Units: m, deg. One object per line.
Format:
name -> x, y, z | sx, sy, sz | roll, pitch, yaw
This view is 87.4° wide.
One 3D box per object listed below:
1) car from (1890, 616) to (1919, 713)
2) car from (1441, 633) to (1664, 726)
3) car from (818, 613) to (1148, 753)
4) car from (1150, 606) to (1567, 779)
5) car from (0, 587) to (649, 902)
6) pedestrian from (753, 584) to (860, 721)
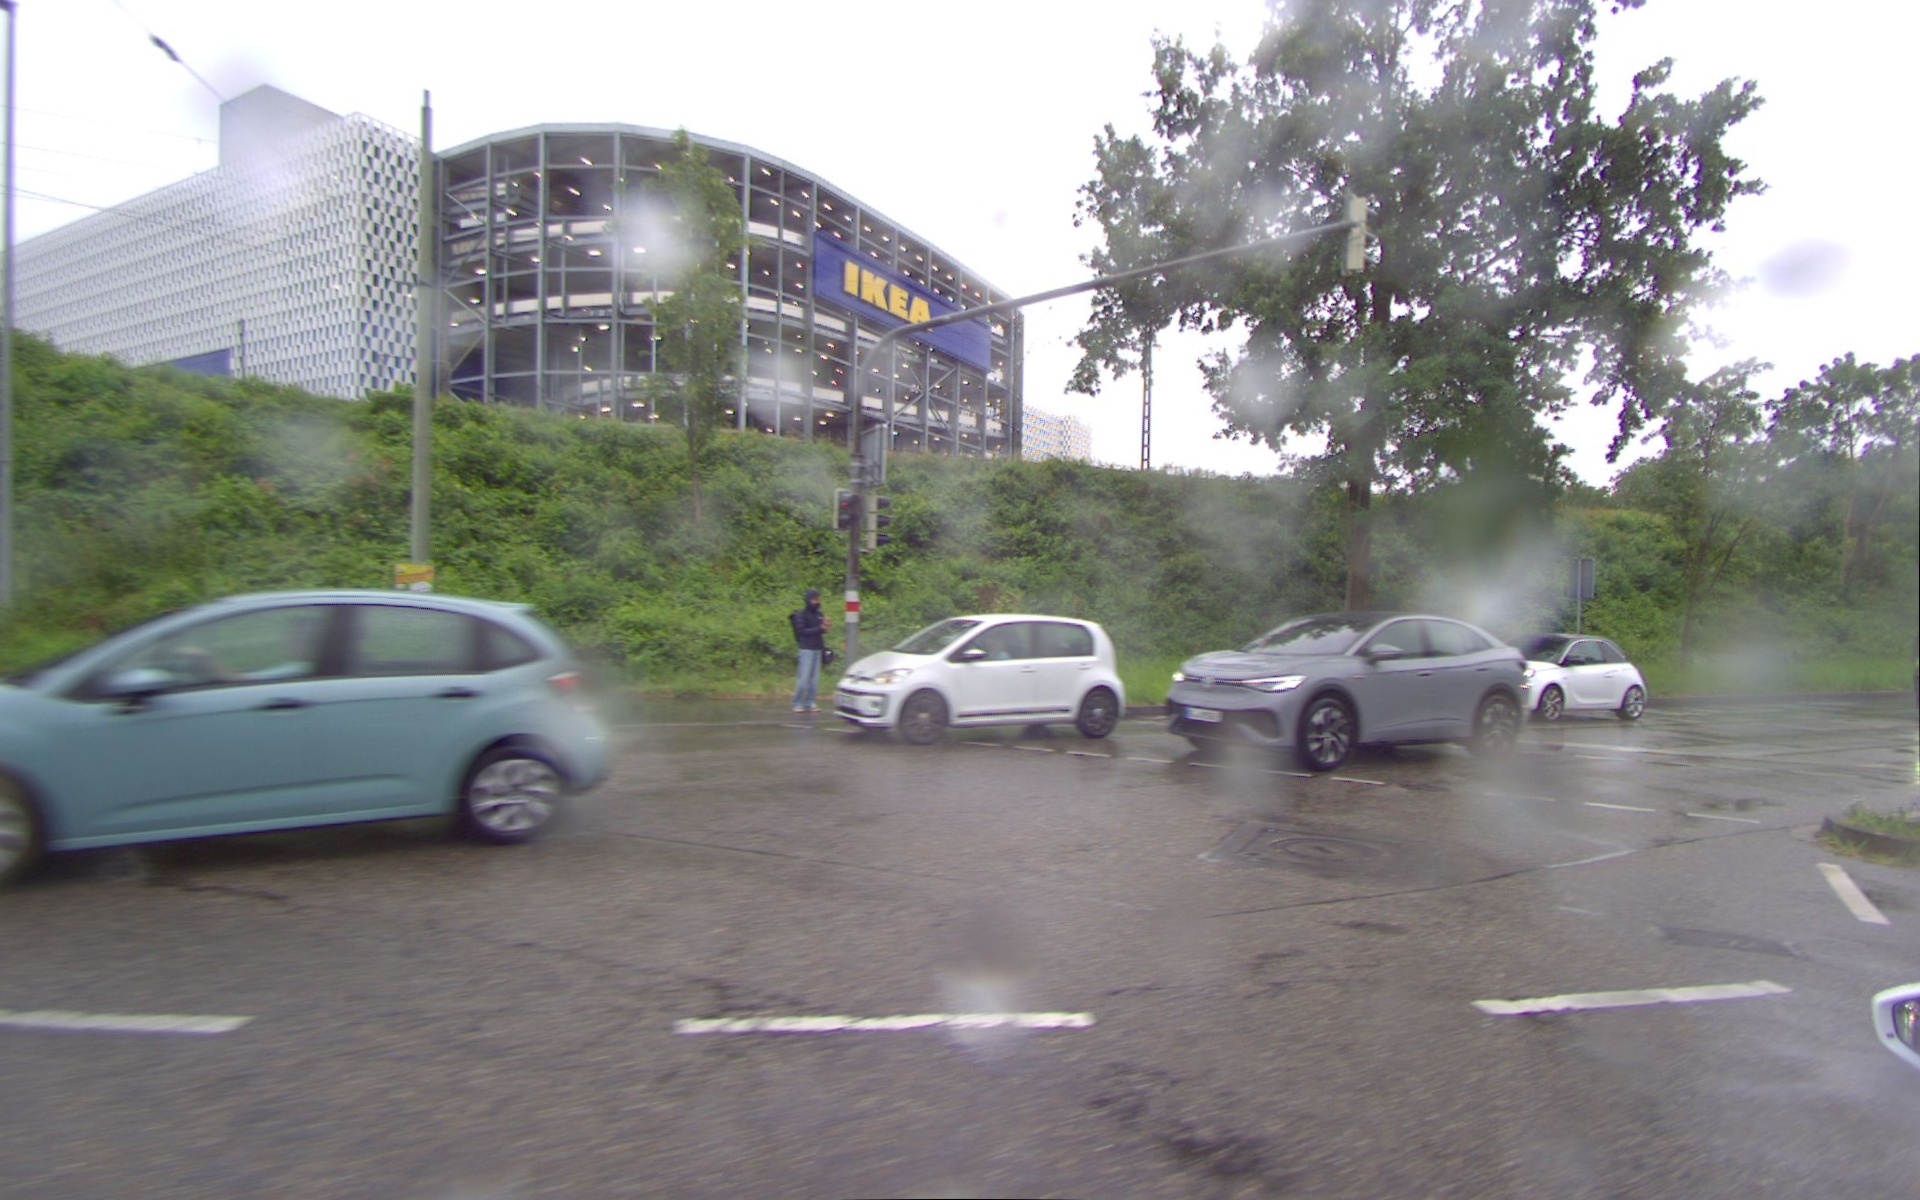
car -> 20.987, 1.296, 19.864 | 5.470, 1.843, 2.058 | 1, 0, -27
car -> 10.359, 1.325, 17.543 | 3.774, 1.422, 1.585 | 1, 0, -27
car -> 0.312, 0.932, 12.333 | 3.740, 1.472, 1.631 | 1, 0, -28
car -> 4.575, 0.945, 11.315 | 4.755, 1.607, 1.754 | 2, -1, -29
car -> -4.054, 0.702, 6.011 | 3.920, 1.493, 1.630 | 1, 0, -31
pedestrian -> -2.219, 0.721, 14.506 | 1.120, 1.871, 1.094 | 1, 0, -37
